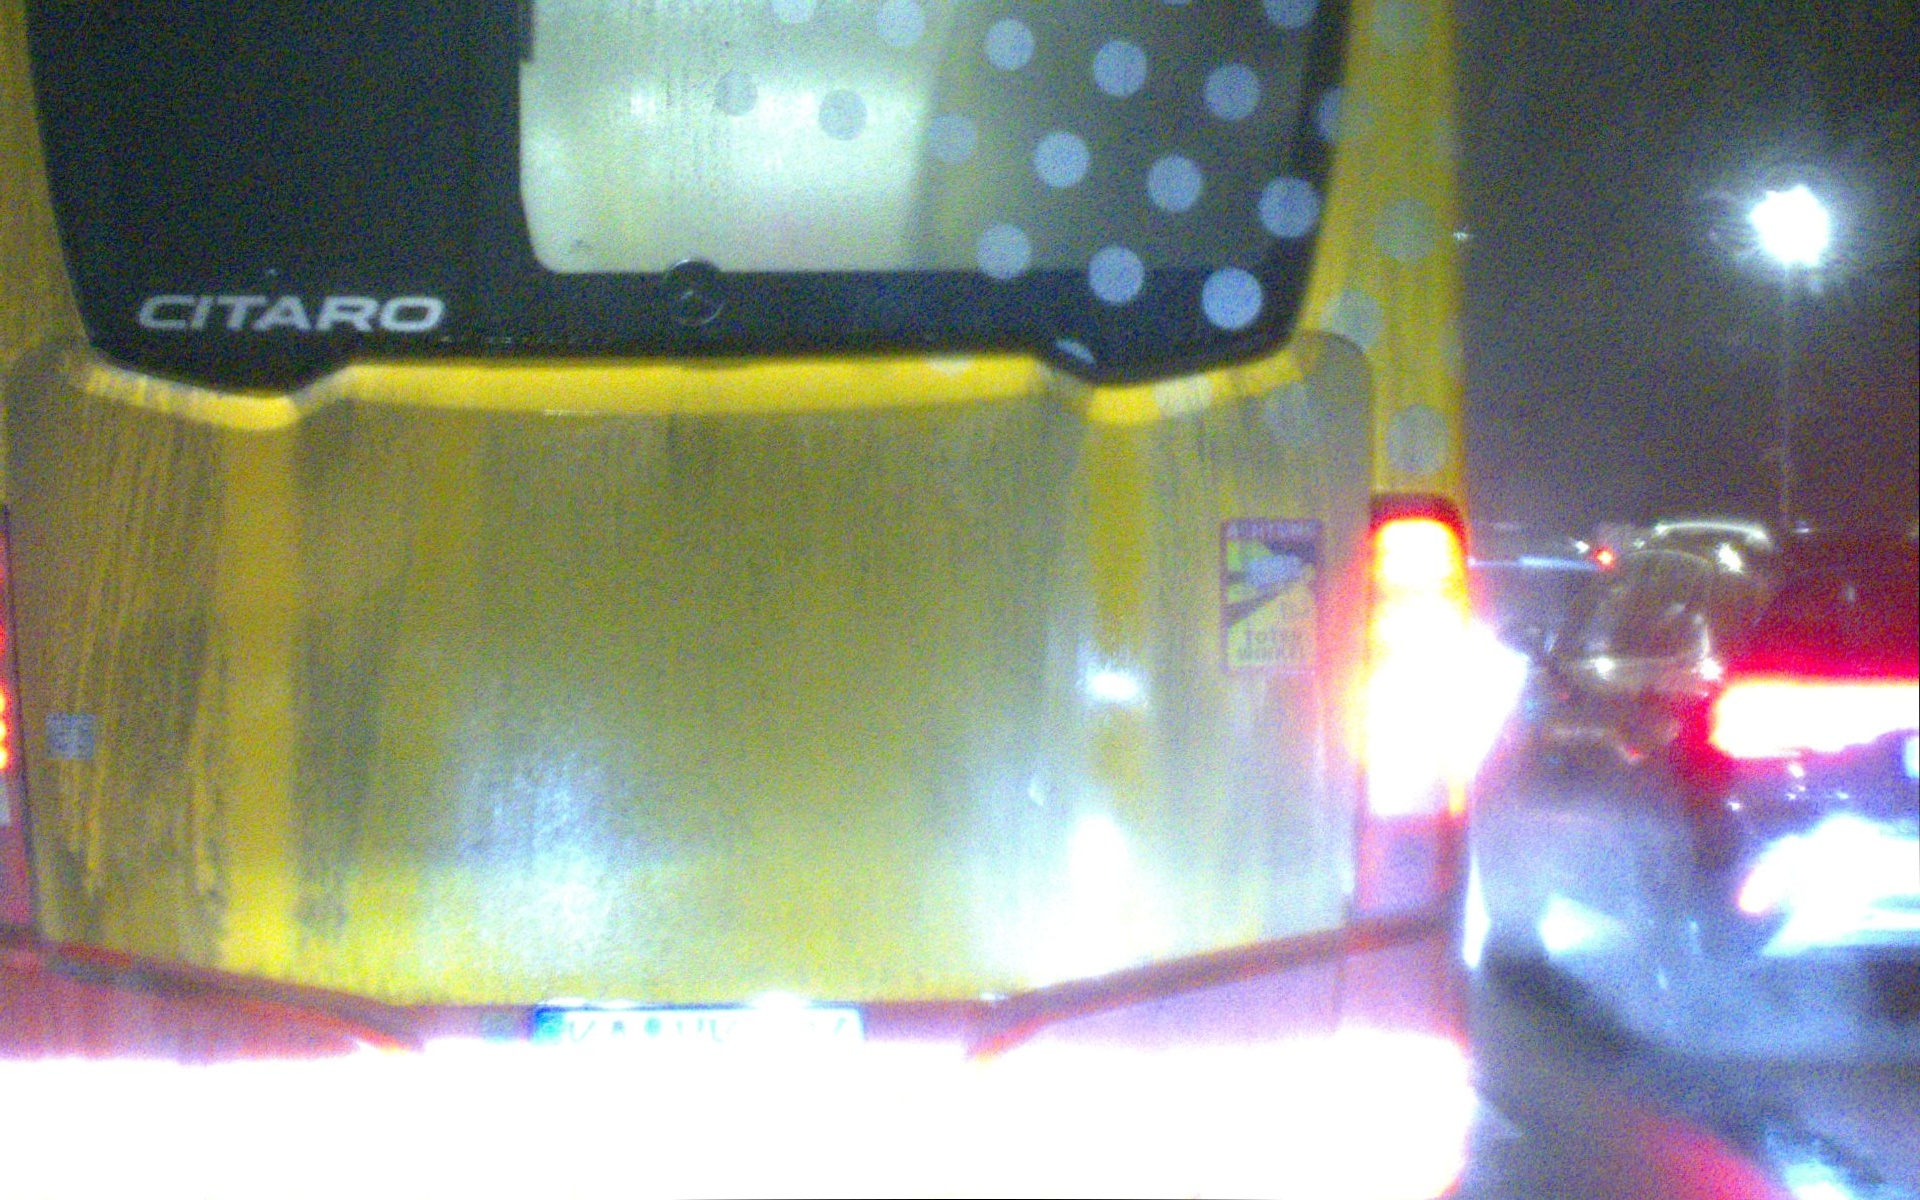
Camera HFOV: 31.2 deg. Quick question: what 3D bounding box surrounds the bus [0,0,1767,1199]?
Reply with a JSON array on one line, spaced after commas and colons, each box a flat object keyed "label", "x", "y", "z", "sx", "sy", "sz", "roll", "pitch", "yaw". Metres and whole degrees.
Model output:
[{"label": "bus", "x": -0.628, "y": -0.311, "z": 9.835, "sx": 3.285, "sy": 3.039, "sz": 9.546, "roll": 0, "pitch": 2, "yaw": -2}]

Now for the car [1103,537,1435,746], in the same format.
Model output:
[{"label": "car", "x": 2.252, "y": 0.272, "z": 26.091, "sx": 1.993, "sy": 1.436, "sz": 4.000, "roll": 1, "pitch": 1, "yaw": -2}]

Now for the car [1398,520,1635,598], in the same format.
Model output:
[{"label": "car", "x": 10.478, "y": -0.783, "z": 64.819, "sx": 4.041, "sy": 1.341, "sz": 1.748, "roll": 1, "pitch": 3, "yaw": -8}]

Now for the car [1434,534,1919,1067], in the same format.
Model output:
[{"label": "car", "x": 2.851, "y": 0.559, "z": 11.821, "sx": 1.677, "sy": 1.516, "sz": 3.961, "roll": 1, "pitch": 1, "yaw": -3}]

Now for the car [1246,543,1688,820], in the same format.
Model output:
[{"label": "car", "x": 2.620, "y": 0.363, "z": 18.615, "sx": 1.686, "sy": 1.326, "sz": 3.961, "roll": -1, "pitch": 1, "yaw": -2}]
